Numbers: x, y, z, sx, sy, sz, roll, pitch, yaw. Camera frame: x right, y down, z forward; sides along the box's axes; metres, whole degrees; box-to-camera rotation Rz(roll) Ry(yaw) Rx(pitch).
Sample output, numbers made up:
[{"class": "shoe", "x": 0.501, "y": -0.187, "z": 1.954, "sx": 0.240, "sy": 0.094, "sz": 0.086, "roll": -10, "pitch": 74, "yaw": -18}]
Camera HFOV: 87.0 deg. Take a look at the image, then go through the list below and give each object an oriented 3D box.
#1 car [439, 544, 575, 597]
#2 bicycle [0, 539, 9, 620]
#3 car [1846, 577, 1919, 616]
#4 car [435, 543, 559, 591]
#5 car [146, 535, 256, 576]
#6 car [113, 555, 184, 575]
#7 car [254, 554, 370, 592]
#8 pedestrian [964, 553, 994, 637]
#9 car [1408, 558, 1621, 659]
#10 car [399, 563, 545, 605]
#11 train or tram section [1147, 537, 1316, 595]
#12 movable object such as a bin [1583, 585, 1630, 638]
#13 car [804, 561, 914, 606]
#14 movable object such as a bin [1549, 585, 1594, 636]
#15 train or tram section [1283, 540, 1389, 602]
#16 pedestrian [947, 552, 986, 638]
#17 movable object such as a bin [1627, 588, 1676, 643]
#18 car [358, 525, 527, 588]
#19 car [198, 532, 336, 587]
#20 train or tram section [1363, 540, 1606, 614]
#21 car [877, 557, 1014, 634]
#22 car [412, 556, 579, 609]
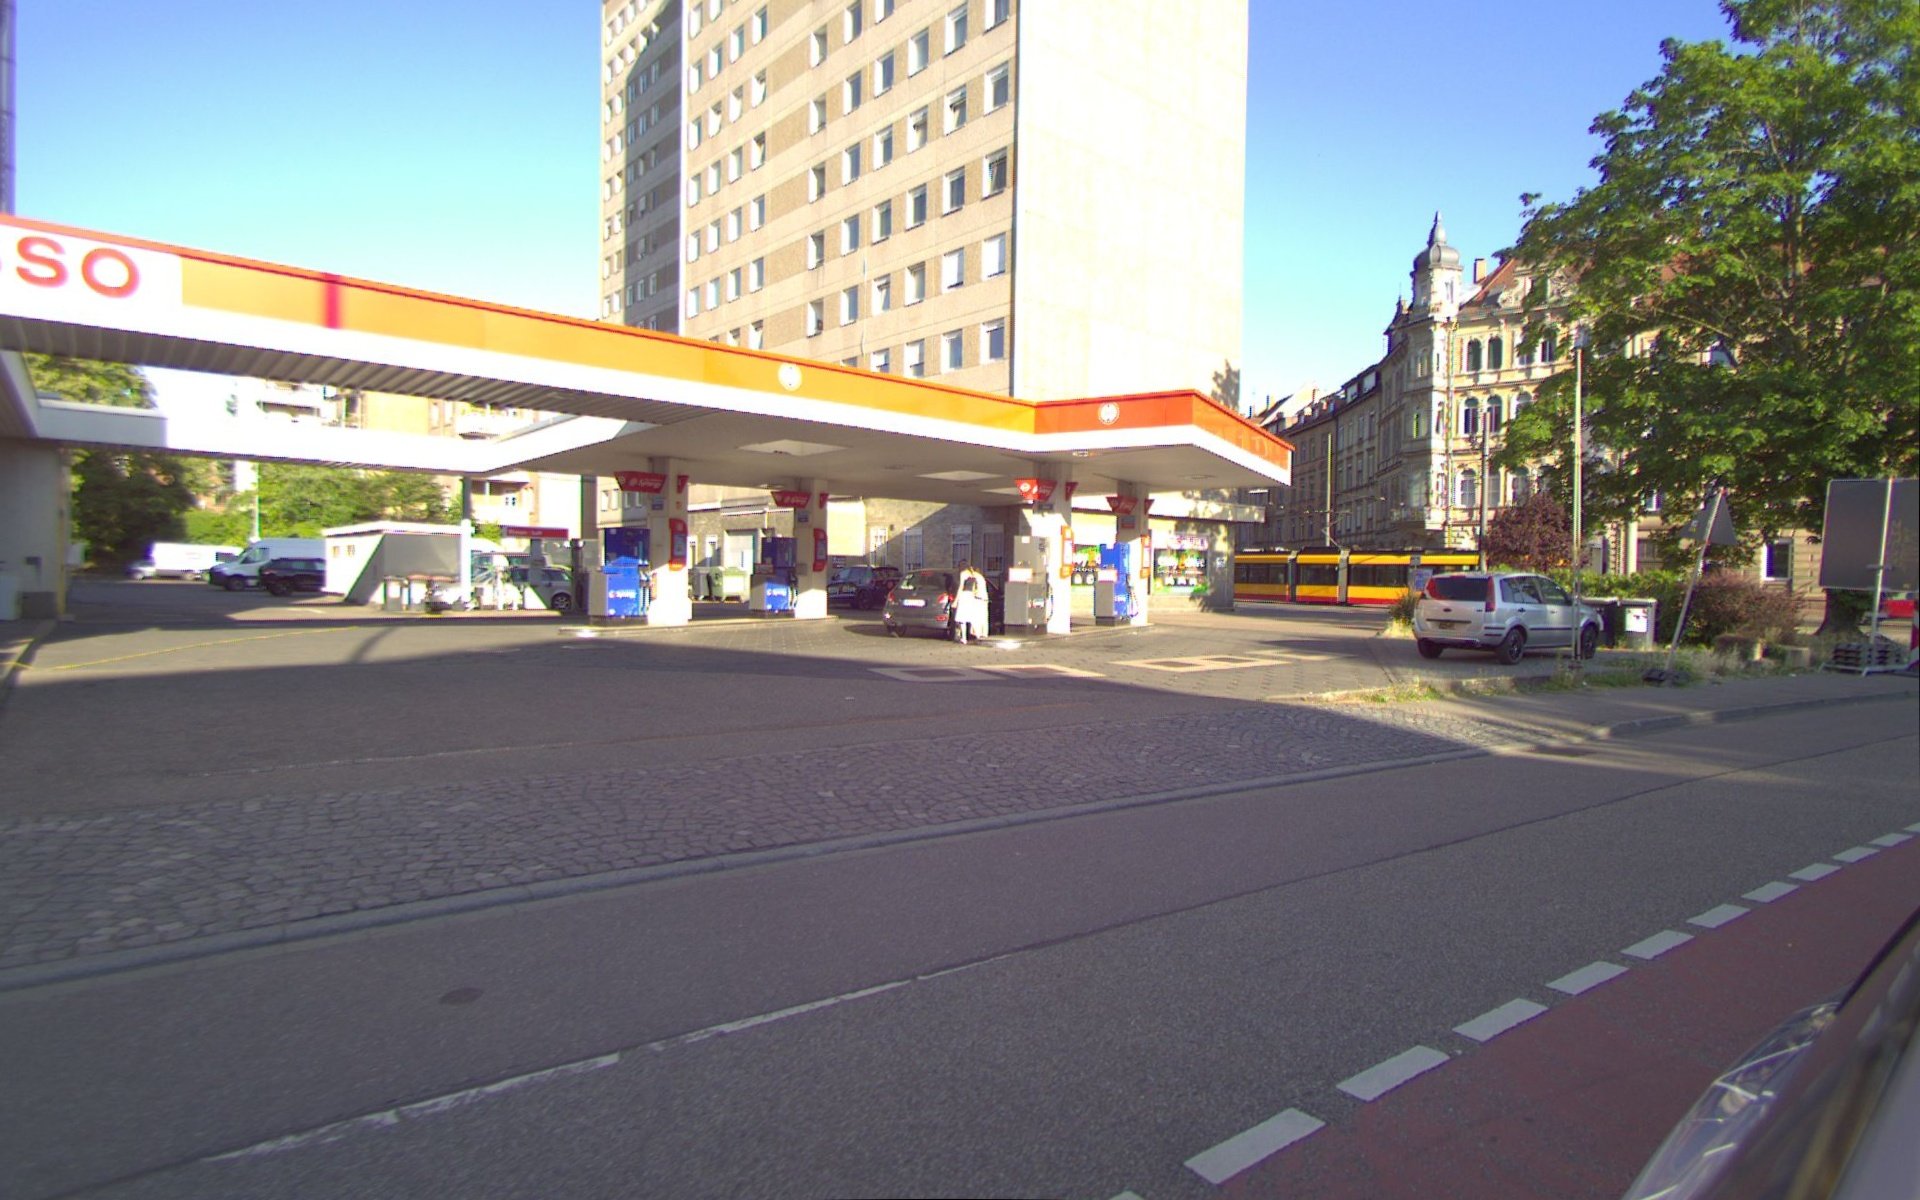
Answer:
[{"class": "car", "x": -16.820, "y": -1.098, "z": 37.661, "sx": 4.220, "sy": 1.867, "sz": 1.998, "roll": 0, "pitch": 2, "yaw": -40}, {"class": "bicycle", "x": -16.456, "y": -0.356, "z": 17.018, "sx": 0.518, "sy": 1.330, "sz": 2.809, "roll": 0, "pitch": 2, "yaw": -40}, {"class": "car", "x": 41.371, "y": -0.142, "z": 43.736, "sx": 1.791, "sy": 1.634, "sz": 4.456, "roll": 0, "pitch": 2, "yaw": -43}, {"class": "car", "x": -18.782, "y": -1.326, "z": 41.114, "sx": 4.220, "sy": 1.867, "sz": 1.998, "roll": 0, "pitch": 2, "yaw": -40}, {"class": "car", "x": -56.754, "y": -3.297, "z": 75.747, "sx": 6.371, "sy": 2.842, "sz": 2.438, "roll": -1, "pitch": 2, "yaw": -43}, {"class": "car", "x": -60.569, "y": -2.621, "z": 75.558, "sx": 4.025, "sy": 1.400, "sz": 1.709, "roll": -1, "pitch": 2, "yaw": -43}, {"class": "car", "x": -27.218, "y": -1.126, "z": 42.552, "sx": 3.930, "sy": 1.526, "sz": 1.693, "roll": 0, "pitch": 2, "yaw": -41}, {"class": "pedestrian", "x": 0.369, "y": -0.104, "z": 20.241, "sx": 0.523, "sy": 1.641, "sz": 0.569, "roll": 1, "pitch": 1, "yaw": -4}, {"class": "car", "x": 9.835, "y": 0.087, "z": 17.881, "sx": 3.818, "sy": 1.613, "sz": 1.626, "roll": -1, "pitch": 2, "yaw": -32}, {"class": "car", "x": -16.504, "y": -0.547, "z": 34.353, "sx": 4.180, "sy": 1.312, "sz": 1.749, "roll": 0, "pitch": 2, "yaw": -40}, {"class": "train or tram section", "x": 17.964, "y": -2.317, "z": 68.568, "sx": 2.812, "sy": 3.551, "sz": 13.035, "roll": 0, "pitch": 2, "yaw": -28}, {"class": "movable object such as a bin", "x": 13.210, "y": 0.230, "z": 20.674, "sx": 0.661, "sy": 1.042, "sz": 0.574, "roll": 0, "pitch": 1, "yaw": -35}, {"class": "car", "x": -3.602, "y": -0.621, "z": 35.588, "sx": 1.965, "sy": 1.466, "sz": 3.995, "roll": 0, "pitch": 2, "yaw": -40}, {"class": "movable object such as a bin", "x": 12.806, "y": 0.220, "z": 21.202, "sx": 0.573, "sy": 1.042, "sz": 0.524, "roll": 1, "pitch": 1, "yaw": -14}, {"class": "train or tram section", "x": 22.406, "y": -1.756, "z": 60.536, "sx": 2.813, "sy": 3.551, "sz": 5.308, "roll": 0, "pitch": 2, "yaw": -32}, {"class": "pedestrian", "x": 0.129, "y": -0.107, "z": 19.597, "sx": 0.529, "sy": 1.641, "sz": 0.563, "roll": 1, "pitch": 1, "yaw": 28}, {"class": "movable object such as a bin", "x": 13.604, "y": 0.295, "z": 19.918, "sx": 0.661, "sy": 1.042, "sz": 0.574, "roll": 0, "pitch": 1, "yaw": -35}, {"class": "car", "x": -22.216, "y": -1.806, "z": 43.669, "sx": 6.196, "sy": 2.532, "sz": 1.996, "roll": -1, "pitch": 2, "yaw": -42}, {"class": "car", "x": -33.711, "y": -1.918, "z": 49.333, "sx": 5.390, "sy": 2.524, "sz": 1.693, "roll": 0, "pitch": 2, "yaw": -41}, {"class": "train or tram section", "x": 27.568, "y": -1.294, "z": 53.971, "sx": 2.819, "sy": 3.551, "sz": 11.283, "roll": 0, "pitch": 2, "yaw": -40}, {"class": "car", "x": -0.237, "y": -0.154, "z": 21.446, "sx": 1.575, "sy": 1.456, "sz": 3.273, "roll": 2, "pitch": 3, "yaw": 26}, {"class": "car", "x": -13.575, "y": -0.521, "z": 29.697, "sx": 4.180, "sy": 1.437, "sz": 1.749, "roll": 0, "pitch": 2, "yaw": -40}]
